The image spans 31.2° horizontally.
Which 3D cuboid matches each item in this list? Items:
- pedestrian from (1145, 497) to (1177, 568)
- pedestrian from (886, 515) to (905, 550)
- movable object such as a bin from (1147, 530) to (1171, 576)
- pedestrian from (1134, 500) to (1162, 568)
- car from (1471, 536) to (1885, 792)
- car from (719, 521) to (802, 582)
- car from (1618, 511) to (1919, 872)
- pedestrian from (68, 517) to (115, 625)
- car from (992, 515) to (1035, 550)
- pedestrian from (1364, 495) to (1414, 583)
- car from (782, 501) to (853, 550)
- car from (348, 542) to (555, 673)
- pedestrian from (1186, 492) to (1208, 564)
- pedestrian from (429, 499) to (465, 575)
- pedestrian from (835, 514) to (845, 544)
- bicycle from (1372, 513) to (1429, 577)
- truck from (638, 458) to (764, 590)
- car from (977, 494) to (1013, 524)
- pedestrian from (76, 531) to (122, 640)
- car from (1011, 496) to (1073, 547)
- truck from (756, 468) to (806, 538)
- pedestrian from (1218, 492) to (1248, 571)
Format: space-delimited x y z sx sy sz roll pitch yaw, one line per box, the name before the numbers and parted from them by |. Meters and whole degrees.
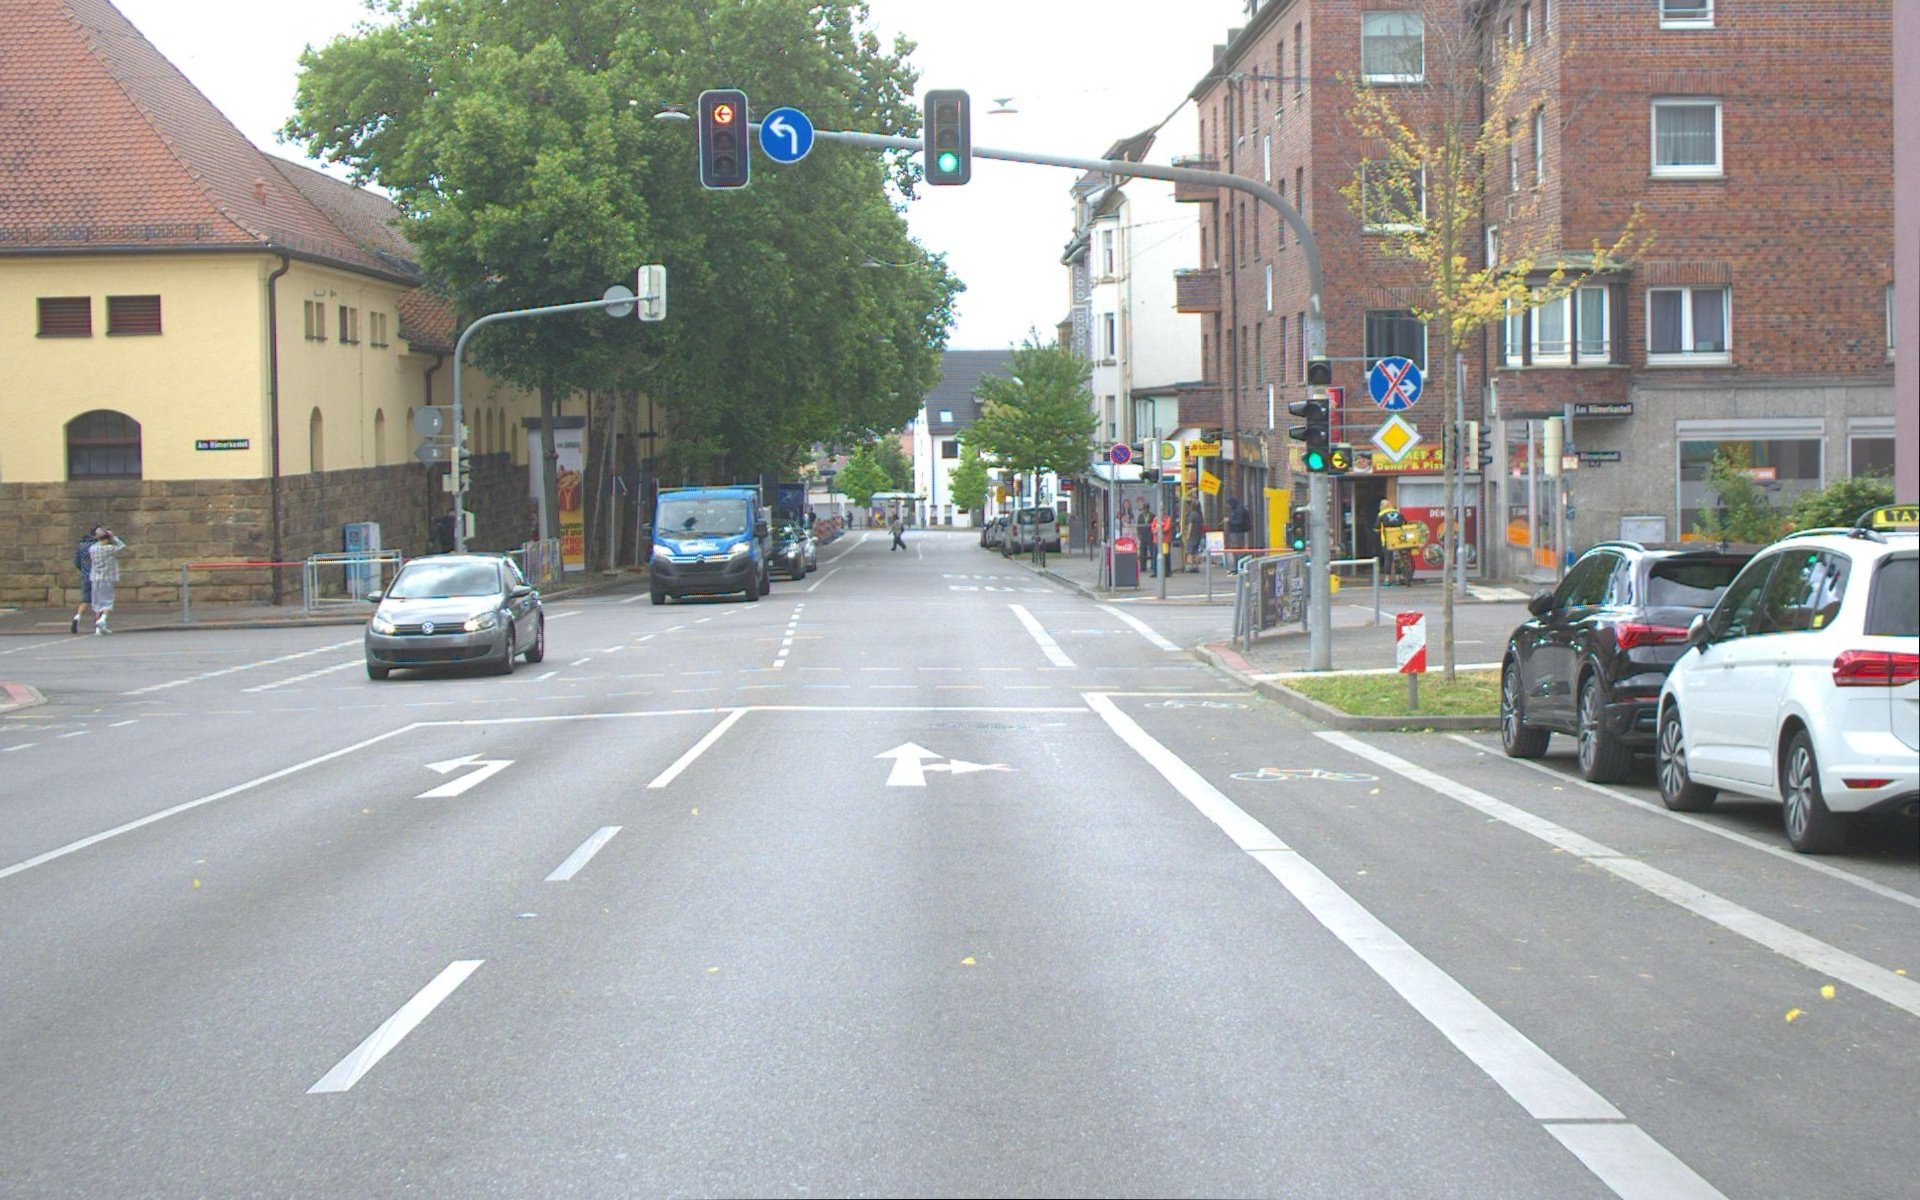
pedestrian | 4.669 -1.563 79.835 0.565 1.631 0.680 0 1 20
pedestrian | -2.851 -2.949 151.147 0.672 1.531 0.611 -1 1 -21
movable object such as a bin | 4.603 -1.091 79.670 0.453 1.053 0.410 0 1 19
pedestrian | 4.778 -1.674 87.383 0.670 1.721 0.763 0 1 5
car | 4.837 0.373 23.814 1.734 1.583 4.573 1 1 -2
car | -4.923 -1.229 85.440 1.703 1.409 4.192 -2 1 1
car | 4.922 0.389 18.612 1.658 1.710 4.552 1 1 -2
pedestrian | -14.481 -0.489 57.313 0.564 1.771 0.842 0 1 -1
car | 2.413 -3.062 155.807 1.668 1.542 3.757 0 1 -3
pedestrian | 8.325 -1.188 66.691 0.788 1.650 0.772 -3 1 0
car | -4.012 -2.099 97.286 1.685 1.271 4.095 -3 1 1
car | -6.306 0.057 43.067 1.756 1.467 4.306 -2 1 2
pedestrian | 5.778 -1.750 83.855 0.479 1.759 0.458 -1 1 -1
pedestrian | -11.848 -1.457 79.386 0.674 1.759 0.725 -1 1 2
pedestrian | -8.076 -4.807 231.282 0.633 2.007 0.784 0 1 1
bicycle | 8.497 -1.072 66.328 0.760 1.189 2.392 0 1 -1
truck | -5.076 -1.515 68.188 2.295 2.419 6.412 -2 1 -3
car | 1.894 -4.909 185.516 1.668 1.542 3.757 0 1 -3
pedestrian | -14.158 -0.245 56.533 0.564 1.771 0.717 0 1 -1
car | 3.134 -3.022 132.393 1.993 1.929 4.920 0 1 -3
truck | -8.739 -4.744 168.363 2.231 3.335 7.450 0 1 -1
pedestrian | 6.126 -1.541 77.076 0.647 1.744 0.778 0 1 5
